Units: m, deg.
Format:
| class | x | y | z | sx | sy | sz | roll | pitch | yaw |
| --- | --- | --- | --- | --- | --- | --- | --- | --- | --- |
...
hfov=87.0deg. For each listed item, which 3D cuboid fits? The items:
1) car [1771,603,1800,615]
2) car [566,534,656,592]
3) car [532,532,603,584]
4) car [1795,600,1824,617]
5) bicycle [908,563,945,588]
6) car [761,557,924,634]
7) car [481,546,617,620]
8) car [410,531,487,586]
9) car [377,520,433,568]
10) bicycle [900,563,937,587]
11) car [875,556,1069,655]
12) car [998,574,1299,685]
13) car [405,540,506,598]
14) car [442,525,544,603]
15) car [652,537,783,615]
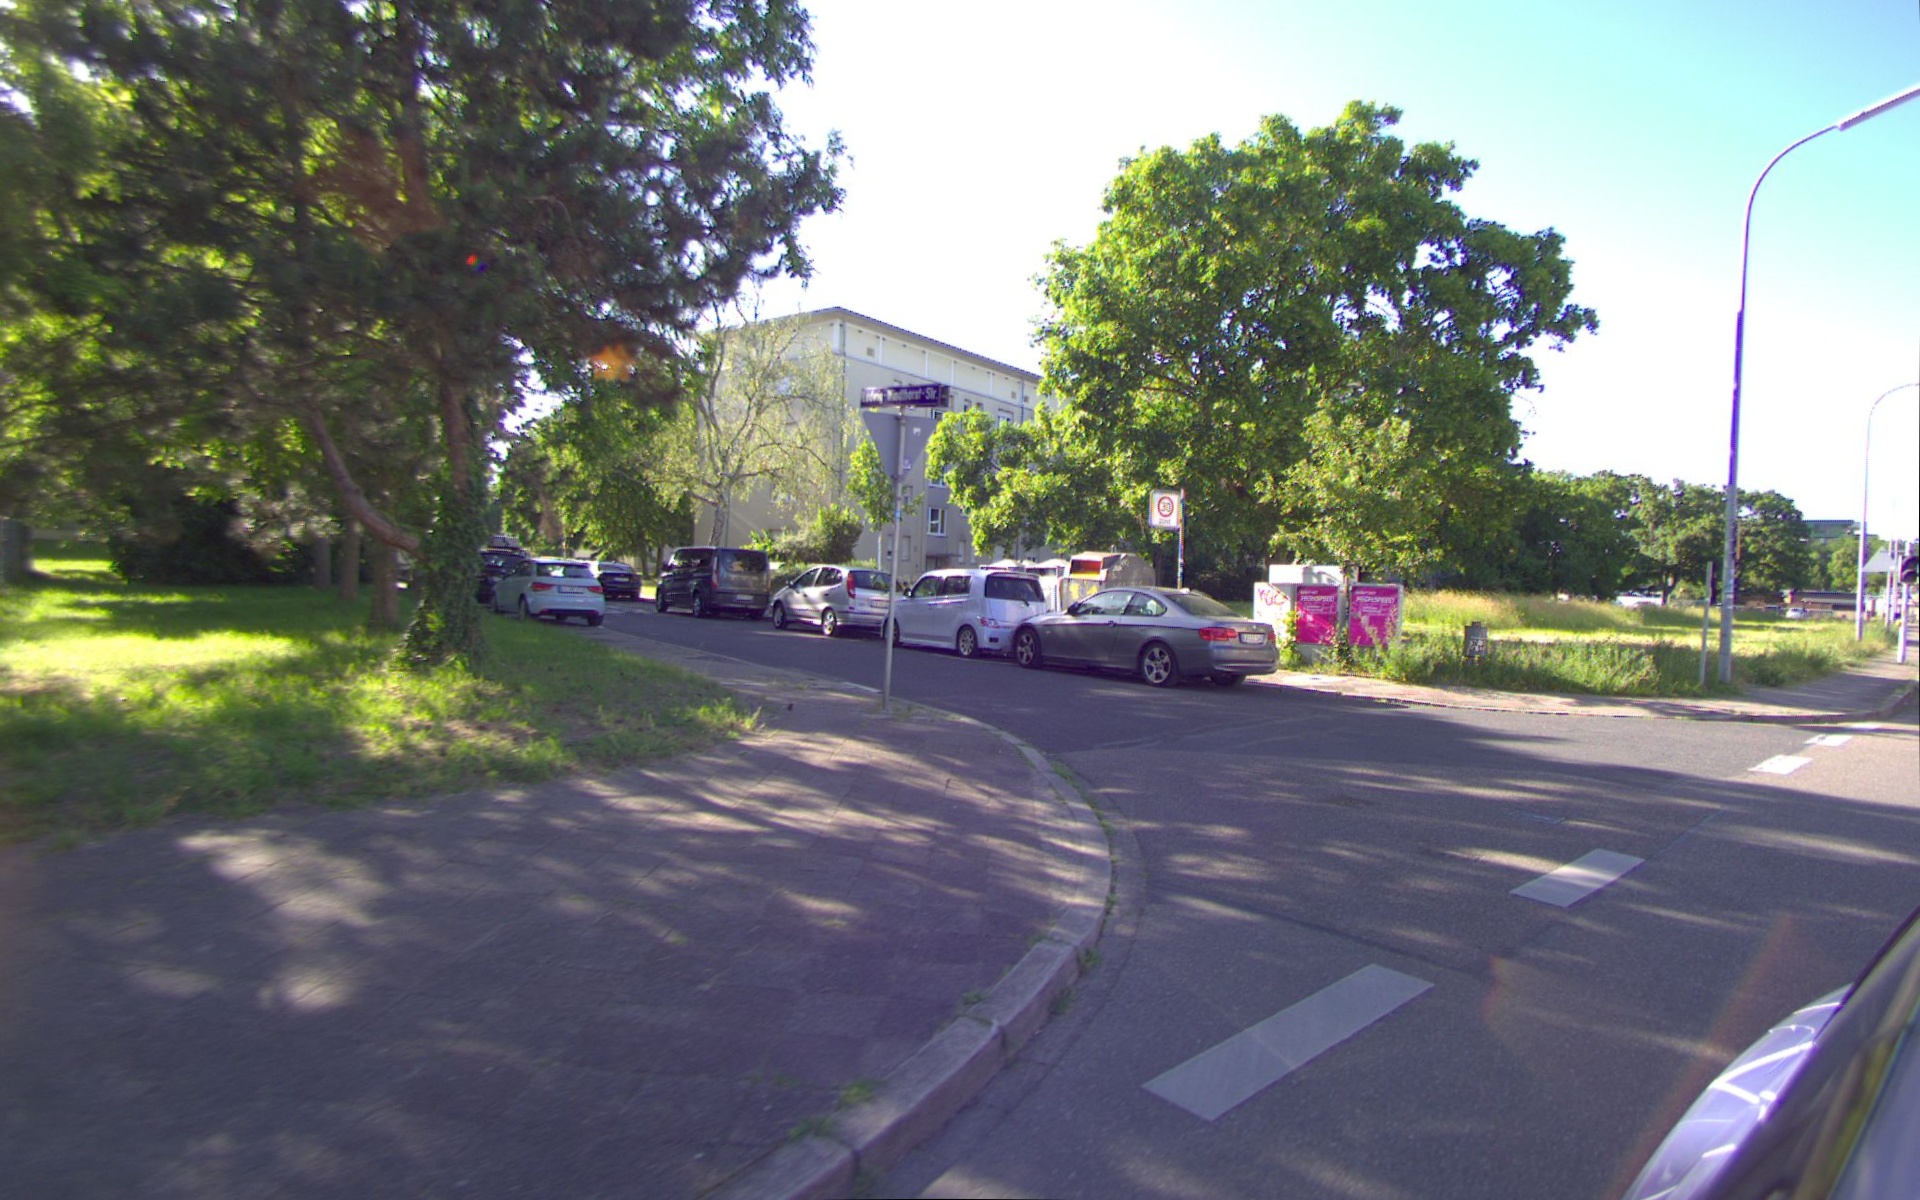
| class | x | y | z | sx | sy | sz | roll | pitch | yaw |
| --- | --- | --- | --- | --- | --- | --- | --- | --- | --- |
| car | 104.333 | 1.123 | 127.902 | 3.924 | 1.340 | 1.782 | 1 | 2 | -36 |
| car | -13.362 | -1.449 | 38.603 | 2.124 | 2.037 | 4.522 | 2 | 2 | -34 |
| car | -16.954 | -1.832 | 43.588 | 2.122 | 2.037 | 4.525 | 2 | 2 | -30 |
| car | 105.786 | 1.038 | 125.997 | 3.927 | 1.882 | 1.956 | 1 | 2 | -39 |
| bicycle | -1.723 | -1.262 | 52.868 | 0.929 | 1.219 | 2.678 | 3 | 2 | 21 |
| car | -2.797 | -0.143 | 23.409 | 1.936 | 1.561 | 4.116 | 2 | 1 | -36 |
| car | -9.254 | -0.414 | 22.652 | 1.754 | 1.414 | 3.876 | 3 | 1 | -38 |
| car | -18.577 | -1.542 | 36.655 | 1.961 | 1.829 | 4.472 | 1 | 2 | -34 |
| car | -28.778 | -2.943 | 52.413 | 2.222 | 2.289 | 5.084 | 1 | 3 | -32 |
| bicycle | -2.197 | -1.336 | 54.066 | 0.929 | 1.219 | 2.678 | 3 | 2 | 21 |
| car | 0.123 | 0.039 | 18.908 | 1.793 | 1.597 | 3.698 | 1 | 2 | -34 |
| car | 2.670 | 0.367 | 15.307 | 1.713 | 1.354 | 4.438 | 3 | 0 | -37 |
| car | -15.715 | -0.988 | 31.426 | 1.964 | 1.631 | 3.875 | 1 | 2 | -40 |
| car | -12.456 | -0.955 | 26.852 | 1.960 | 1.874 | 3.882 | 1 | 2 | -32 |
| car | -7.095 | -0.739 | 29.276 | 2.229 | 2.037 | 4.522 | 1 | 2 | -34 |
